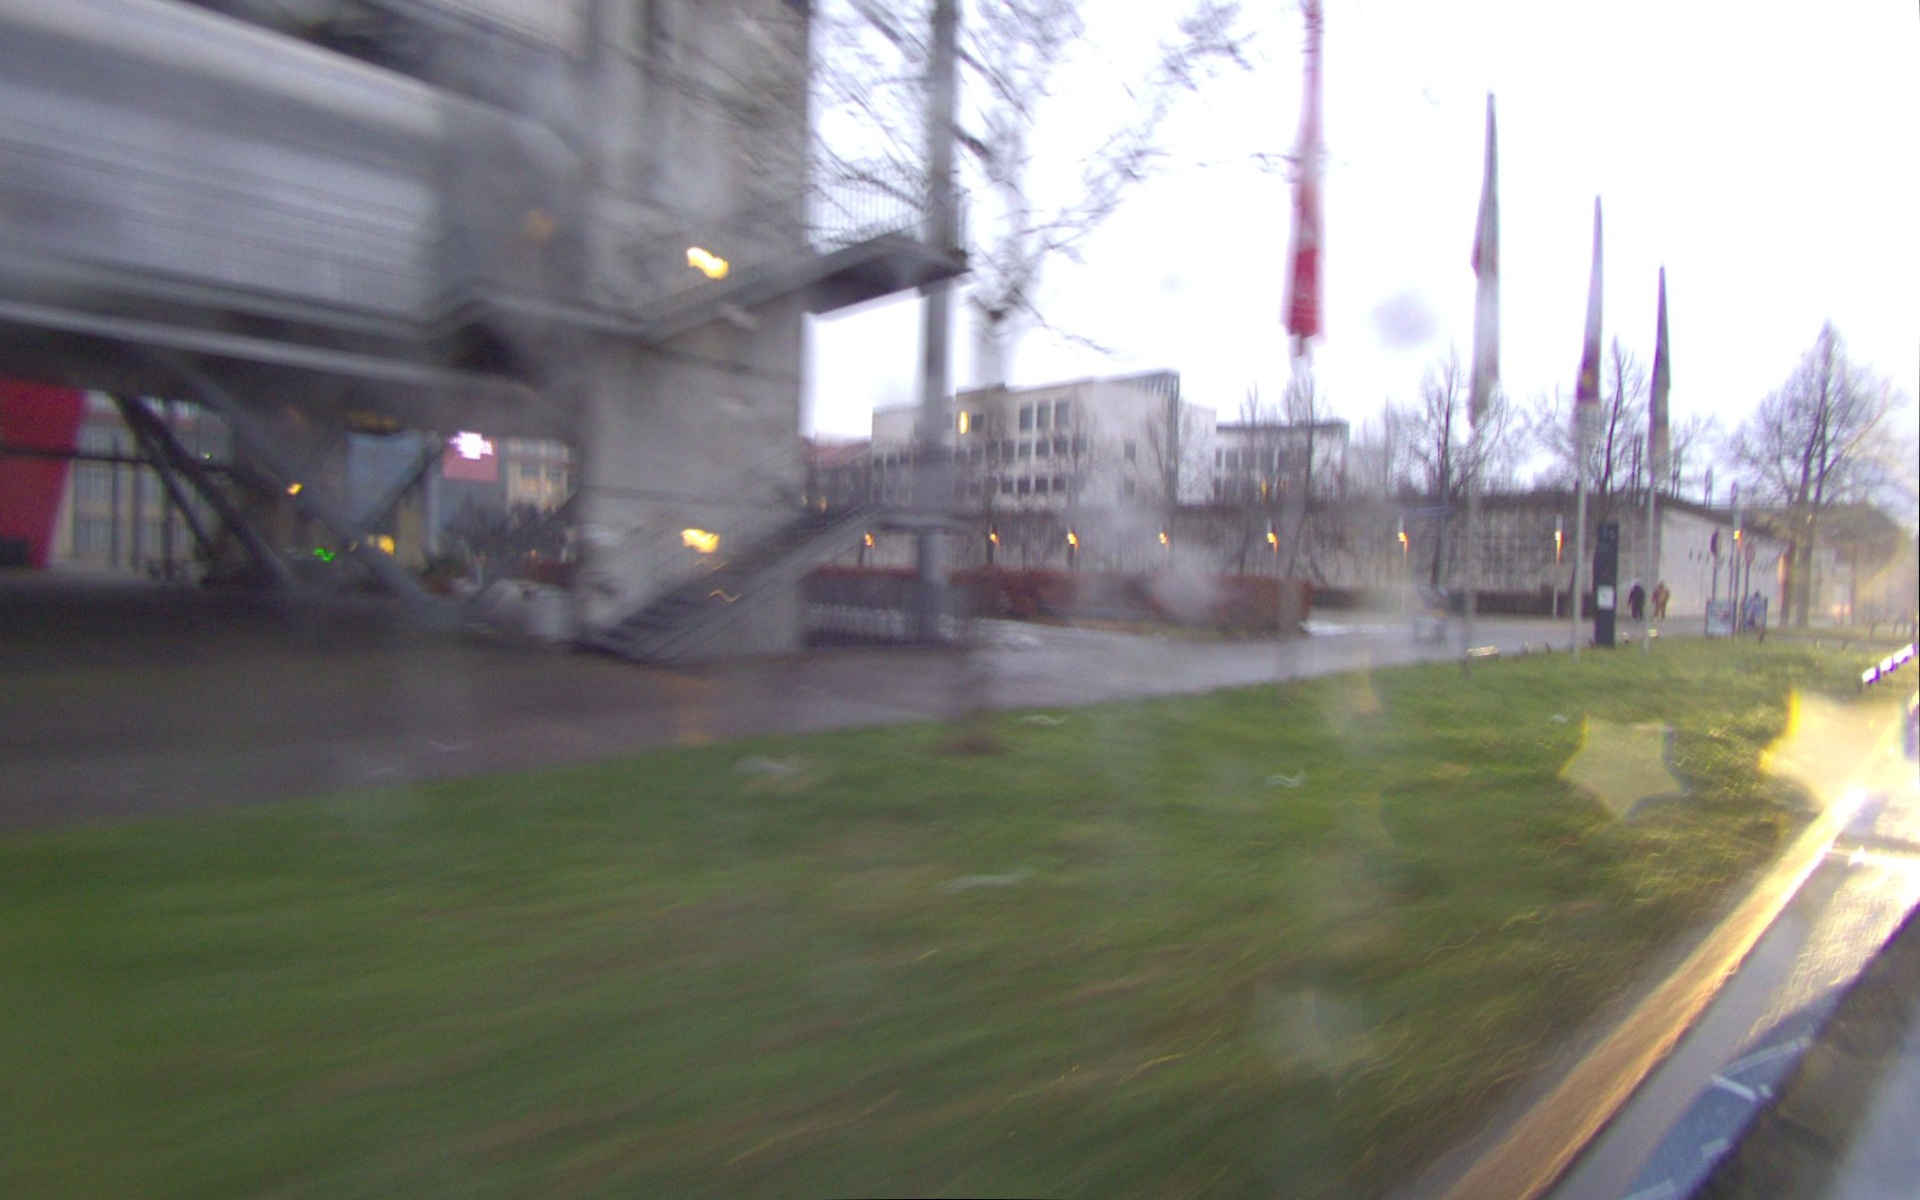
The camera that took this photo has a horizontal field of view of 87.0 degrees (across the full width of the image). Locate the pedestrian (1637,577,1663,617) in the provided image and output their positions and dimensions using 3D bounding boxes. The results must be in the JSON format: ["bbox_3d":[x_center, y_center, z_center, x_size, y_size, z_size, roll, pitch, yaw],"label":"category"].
[{"bbox_3d":[28.605,-0.118,41.938,0.602,1.645,0.676,0,0,-28],"label":"pedestrian"}]

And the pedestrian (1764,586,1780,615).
[{"bbox_3d":[48.791,0.035,60.791,0.666,1.675,0.980,3,3,41],"label":"pedestrian"}]

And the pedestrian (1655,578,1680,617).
[{"bbox_3d":[30.024,-0.118,42.970,0.602,1.632,0.675,0,0,-30],"label":"pedestrian"}]

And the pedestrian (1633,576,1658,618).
[{"bbox_3d":[29.666,-0.149,43.801,0.602,1.800,0.675,0,0,-30],"label":"pedestrian"}]
